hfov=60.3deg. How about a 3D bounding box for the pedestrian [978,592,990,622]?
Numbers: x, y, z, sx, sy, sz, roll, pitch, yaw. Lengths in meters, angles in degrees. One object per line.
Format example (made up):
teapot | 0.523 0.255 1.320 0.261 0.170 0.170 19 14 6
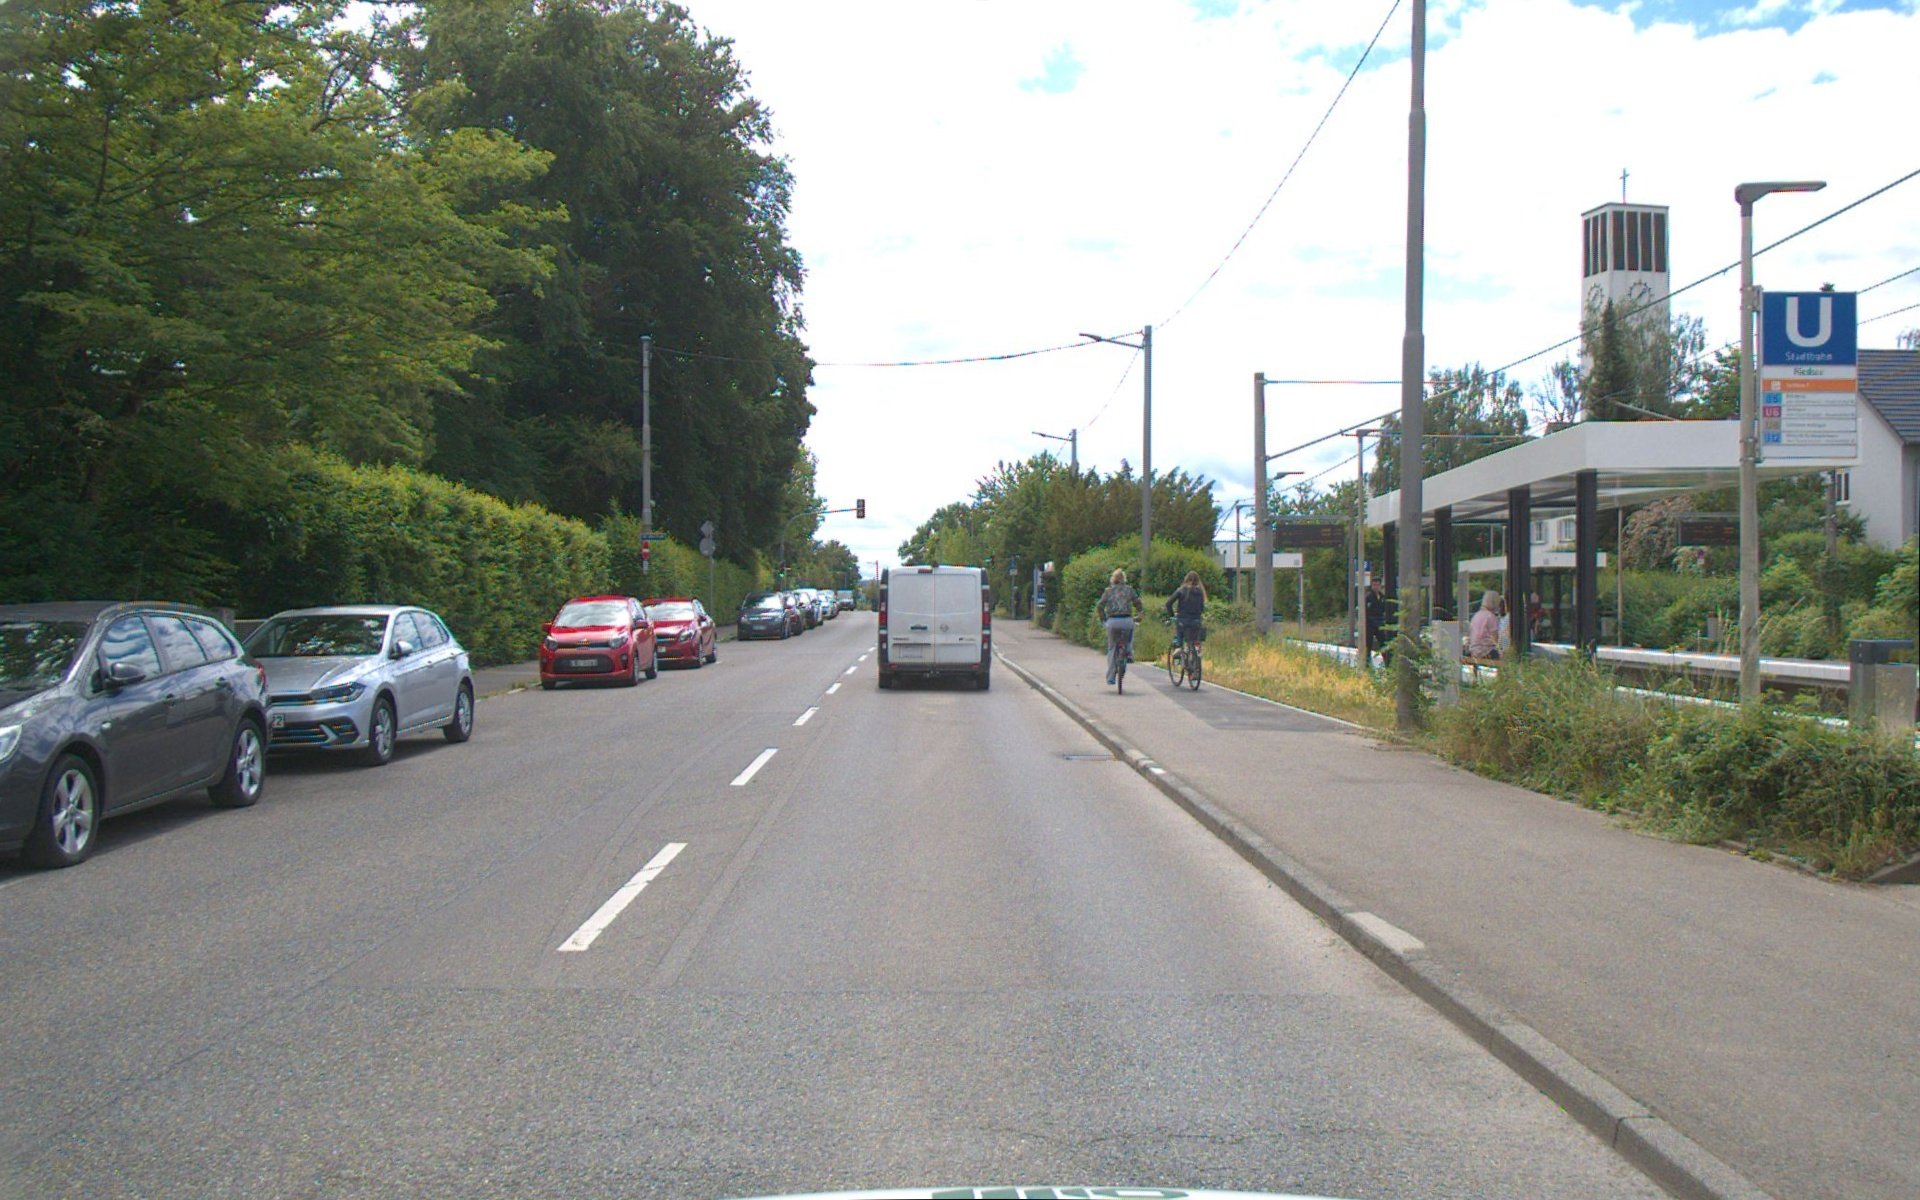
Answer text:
pedestrian | 1.470 0.448 101.778 0.638 1.838 0.564 1 0 -13

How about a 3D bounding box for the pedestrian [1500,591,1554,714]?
pedestrian | 6.384 0.579 18.633 0.475 1.367 0.396 0 0 3

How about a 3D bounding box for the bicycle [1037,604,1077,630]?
bicycle | 4.109 0.724 70.356 1.664 1.048 0.491 1 0 -3

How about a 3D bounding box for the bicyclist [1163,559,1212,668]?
bicyclist | 3.568 0.212 25.970 0.626 1.678 0.818 0 0 -2

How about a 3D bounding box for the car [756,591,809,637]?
car | -6.749 0.516 63.119 1.726 1.685 4.059 -1 0 -2

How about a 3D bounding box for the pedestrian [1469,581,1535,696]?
pedestrian | 6.798 0.471 20.770 0.570 1.404 0.739 0 0 0

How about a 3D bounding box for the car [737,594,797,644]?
car | -6.645 0.619 57.201 1.726 1.654 4.184 -1 0 -2

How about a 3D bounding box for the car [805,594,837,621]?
car | -8.310 0.430 99.414 1.726 1.584 3.813 -1 0 -2

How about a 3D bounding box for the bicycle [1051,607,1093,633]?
bicycle | 4.547 0.826 67.340 1.664 1.048 0.491 1 0 -3

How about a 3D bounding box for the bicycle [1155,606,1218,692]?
bicycle | 3.576 0.744 26.303 0.606 1.268 2.395 0 0 -1

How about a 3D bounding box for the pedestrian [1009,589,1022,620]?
pedestrian | 3.093 0.231 92.262 0.660 1.726 0.522 0 0 3

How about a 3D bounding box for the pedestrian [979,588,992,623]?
pedestrian | 1.401 0.297 91.060 0.666 1.873 0.646 1 0 5

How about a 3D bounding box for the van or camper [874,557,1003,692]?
van or camper | -0.366 0.393 27.984 1.953 2.049 4.445 1 0 -1

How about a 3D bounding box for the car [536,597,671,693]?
car | -6.118 0.727 28.709 1.556 1.531 3.515 -1 0 0

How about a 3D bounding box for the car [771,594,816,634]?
car | -7.343 0.580 73.109 1.726 1.685 3.813 -1 0 -2

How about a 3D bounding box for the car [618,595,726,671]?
car | -6.143 0.660 35.696 1.726 1.497 4.184 -1 0 -2

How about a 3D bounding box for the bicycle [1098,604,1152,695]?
bicycle | 2.432 0.705 24.572 0.535 1.268 2.054 0 0 -1

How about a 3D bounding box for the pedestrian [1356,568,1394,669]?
pedestrian | 7.297 0.317 29.076 0.624 1.755 0.655 1 0 14

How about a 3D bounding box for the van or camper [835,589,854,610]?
van or camper | -13.100 -0.019 187.265 1.965 2.301 4.607 -1 0 -6

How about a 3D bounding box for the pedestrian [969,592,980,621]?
pedestrian | 0.953 0.432 108.912 0.688 1.883 0.666 1 0 -1

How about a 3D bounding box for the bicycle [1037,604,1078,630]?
bicycle | 4.117 0.721 69.825 1.664 1.048 0.491 1 0 -3

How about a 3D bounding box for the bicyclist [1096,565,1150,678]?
bicyclist | 2.424 0.314 24.634 0.703 1.640 0.757 0 0 -2

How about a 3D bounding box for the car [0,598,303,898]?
car | -5.853 0.779 10.468 1.702 1.531 4.476 -2 0 -2

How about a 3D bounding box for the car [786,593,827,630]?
car | -7.314 0.517 78.902 1.726 1.685 3.813 -1 0 -2

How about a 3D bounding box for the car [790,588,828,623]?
car | -7.812 0.272 85.858 1.726 1.787 3.813 -1 0 -2

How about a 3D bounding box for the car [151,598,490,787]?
car | -5.968 0.778 15.965 1.701 1.531 3.963 -2 0 0
